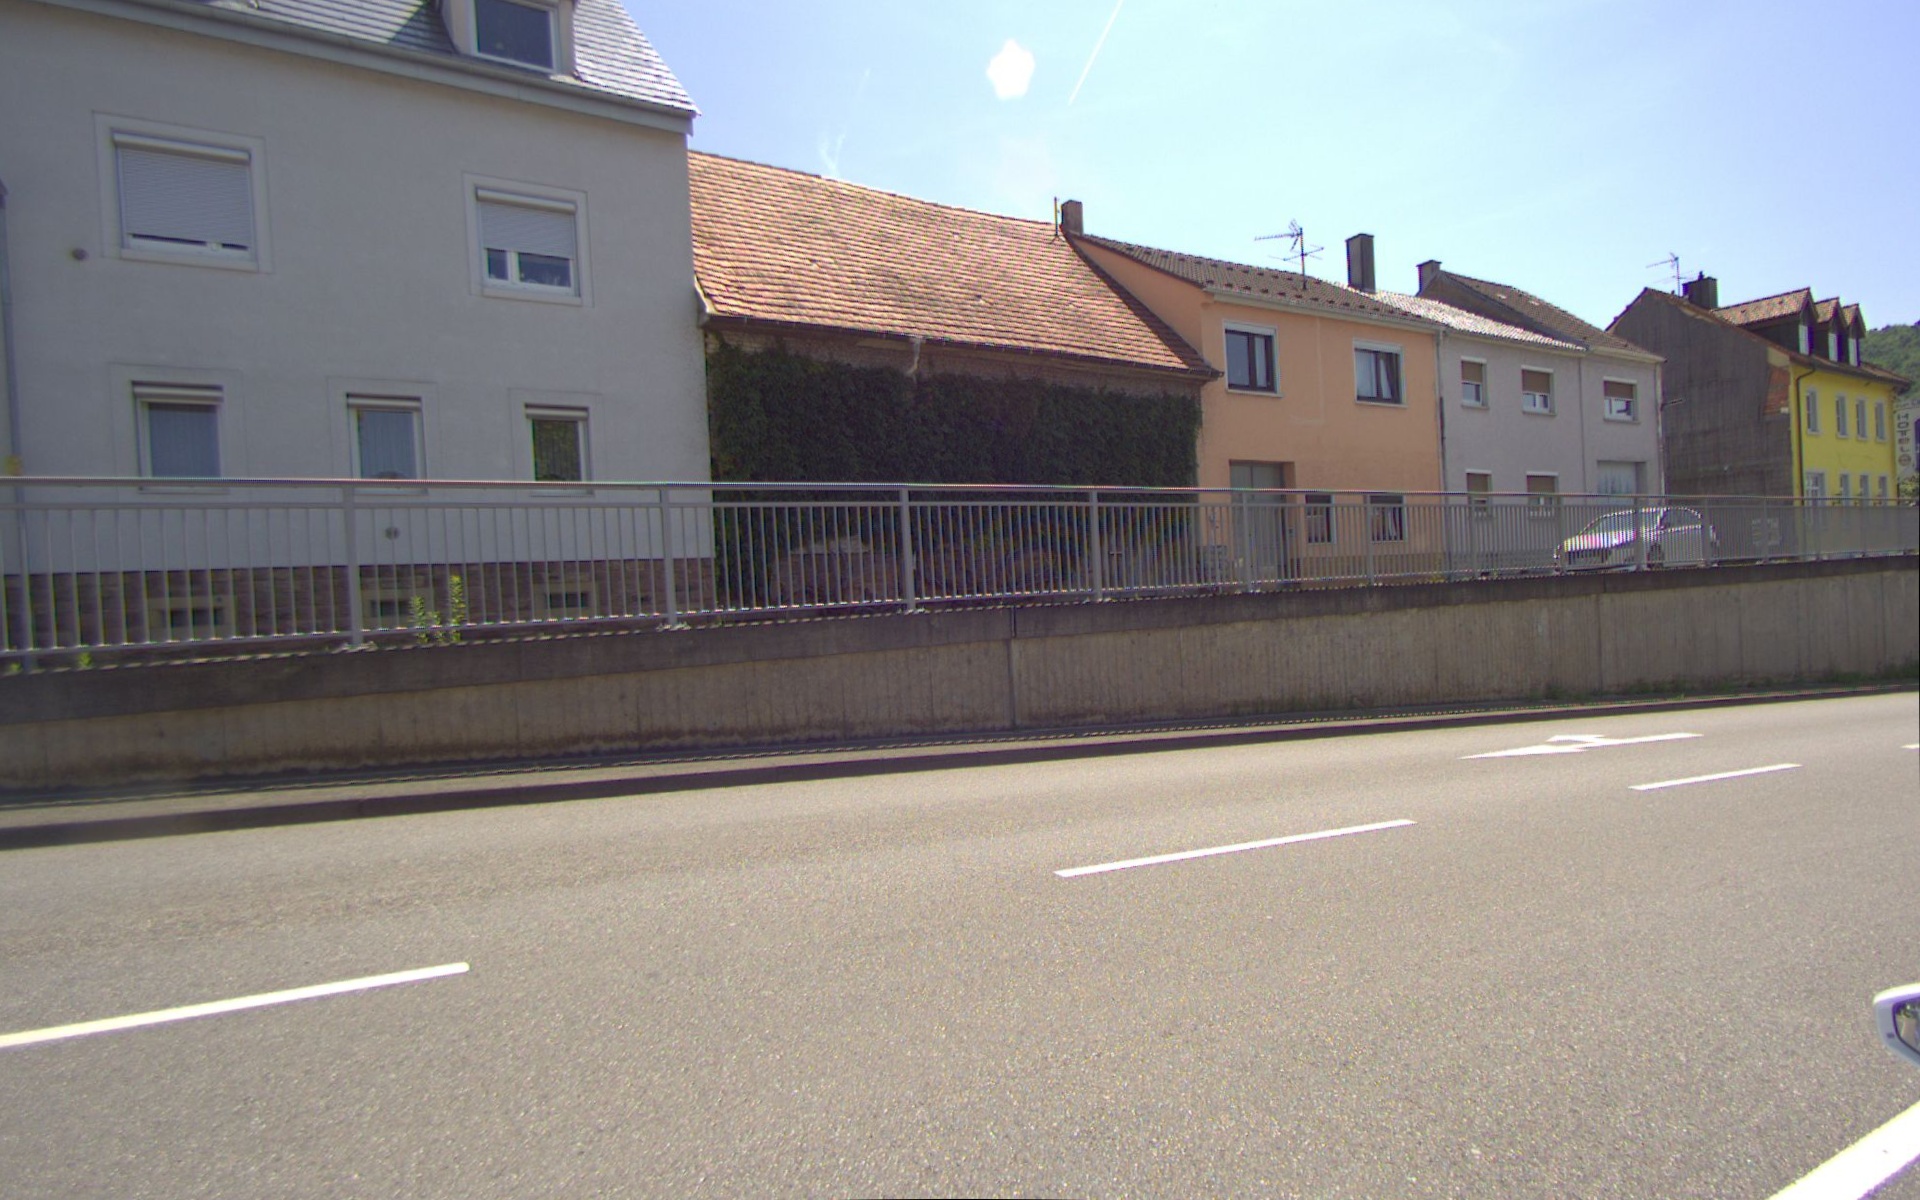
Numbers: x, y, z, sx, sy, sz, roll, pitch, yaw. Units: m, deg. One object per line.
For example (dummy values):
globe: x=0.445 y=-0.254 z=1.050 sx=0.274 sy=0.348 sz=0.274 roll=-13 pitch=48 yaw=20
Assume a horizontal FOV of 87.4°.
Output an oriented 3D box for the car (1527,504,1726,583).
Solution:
car: x=13.963 y=-1.184 z=20.990 sx=4.258 sy=1.482 sz=1.804 roll=-3 pitch=2 yaw=-30
